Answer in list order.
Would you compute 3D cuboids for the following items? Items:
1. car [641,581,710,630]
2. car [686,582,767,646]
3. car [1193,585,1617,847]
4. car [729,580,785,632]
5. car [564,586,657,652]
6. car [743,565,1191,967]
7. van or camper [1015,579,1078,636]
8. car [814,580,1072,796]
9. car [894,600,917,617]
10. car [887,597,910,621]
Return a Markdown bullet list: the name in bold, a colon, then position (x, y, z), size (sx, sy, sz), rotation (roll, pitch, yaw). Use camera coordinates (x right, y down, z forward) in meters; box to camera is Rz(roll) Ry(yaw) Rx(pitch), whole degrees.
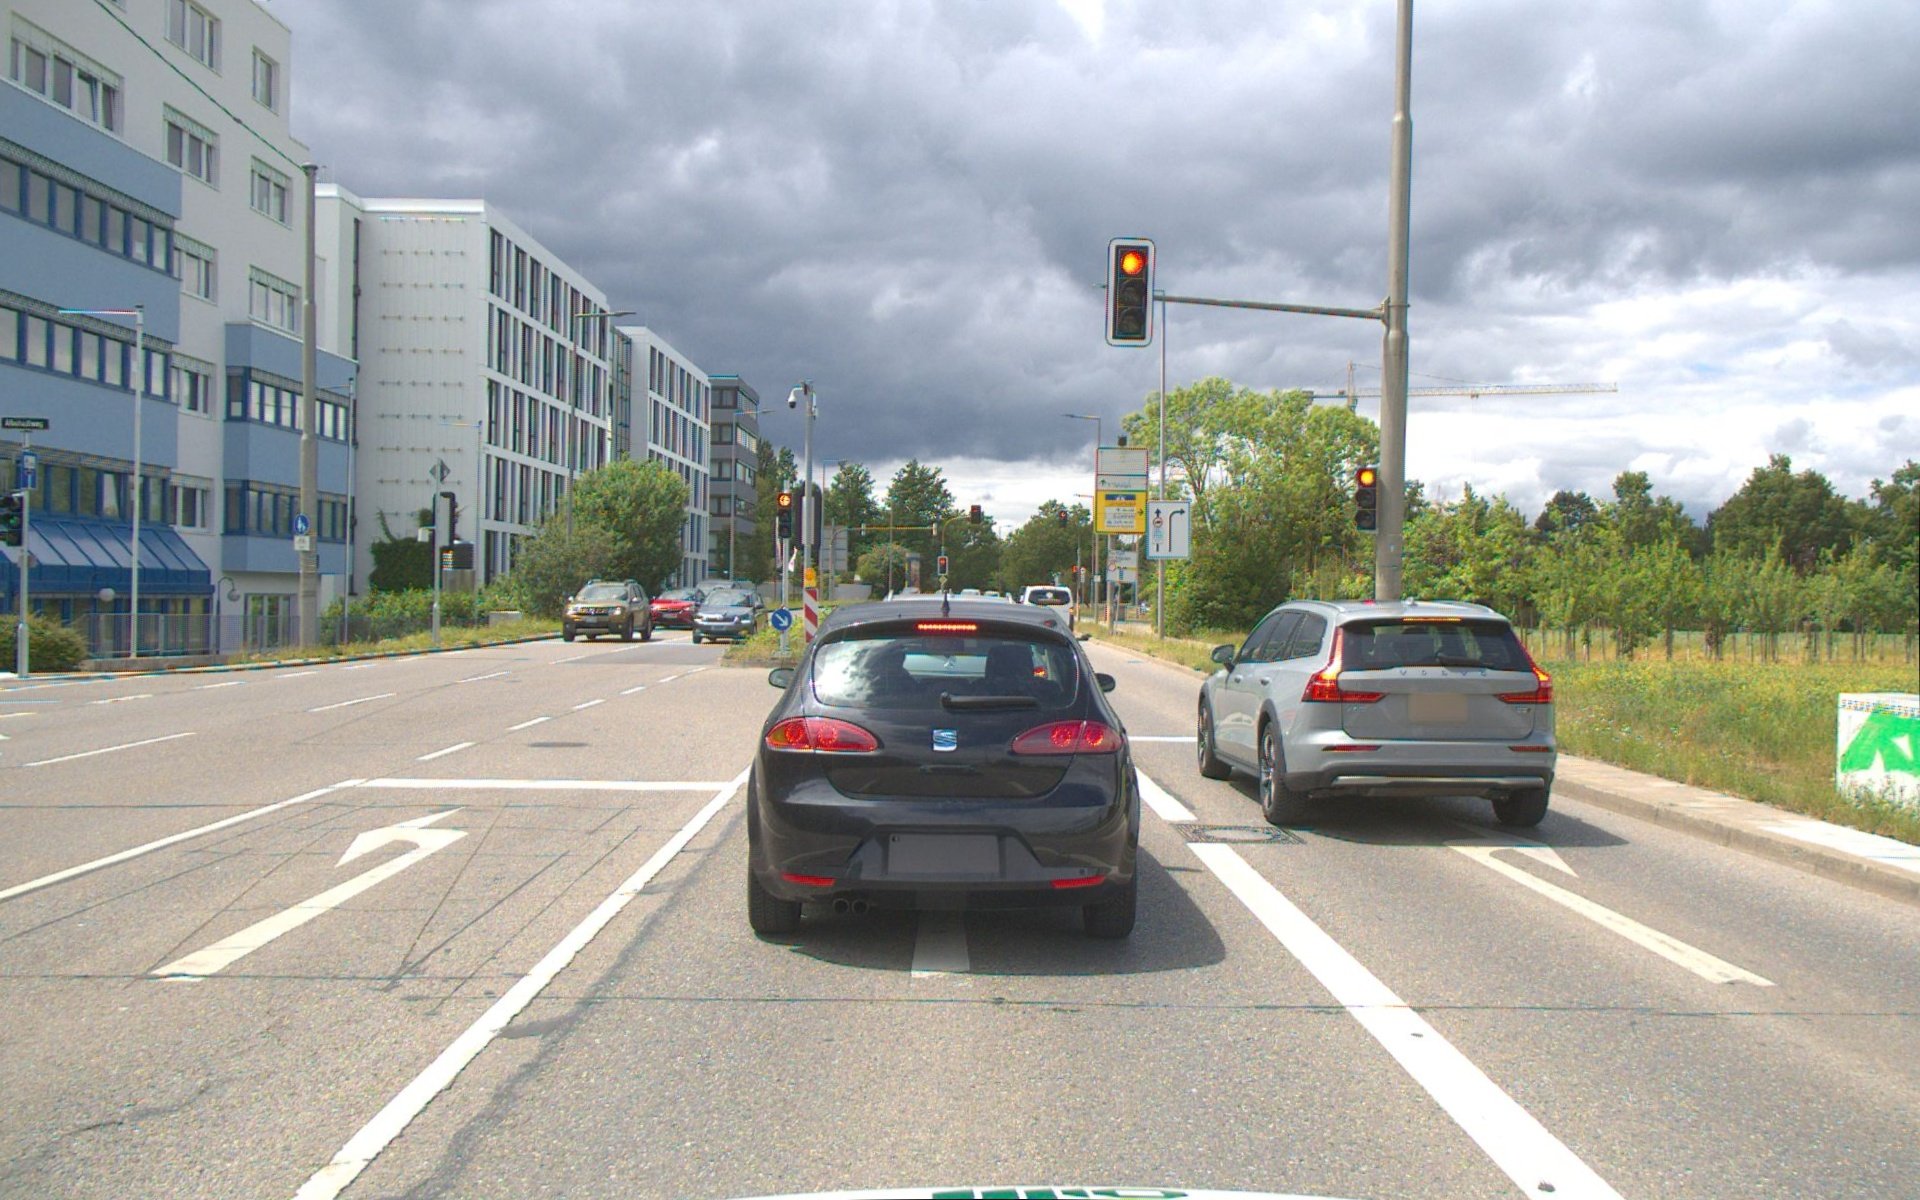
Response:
- **car**: position (-9.871, 0.206, 57.622), size (1.740, 1.640, 3.999), rotation (0, 0, -1)
- **car**: position (-6.288, 0.354, 44.843), size (1.635, 1.551, 4.008), rotation (-2, 1, -1)
- **car**: position (3.008, 0.718, 12.214), size (1.918, 1.552, 4.339), rotation (-1, 0, 0)
- **car**: position (-8.222, 0.243, 67.265), size (1.954, 2.049, 4.478), rotation (0, 0, -3)
- **car**: position (-9.416, 0.483, 44.823), size (1.715, 1.659, 3.999), rotation (-1, 0, -1)
- **car**: position (0.113, 0.657, 8.467), size (1.711, 1.510, 4.001), rotation (2, 0, 2)
- **van or camper**: position (3.077, 0.279, 59.672), size (1.861, 1.959, 3.997), rotation (0, 0, -3)
- **car**: position (-0.180, 0.673, 14.702), size (1.943, 1.618, 4.224), rotation (1, 0, -2)
- **car**: position (-4.746, 0.736, 143.683), size (1.953, 1.434, 3.999), rotation (0, 0, -1)
- **car**: position (-5.346, 0.796, 143.702), size (1.953, 2.049, 3.999), rotation (0, 0, -1)
